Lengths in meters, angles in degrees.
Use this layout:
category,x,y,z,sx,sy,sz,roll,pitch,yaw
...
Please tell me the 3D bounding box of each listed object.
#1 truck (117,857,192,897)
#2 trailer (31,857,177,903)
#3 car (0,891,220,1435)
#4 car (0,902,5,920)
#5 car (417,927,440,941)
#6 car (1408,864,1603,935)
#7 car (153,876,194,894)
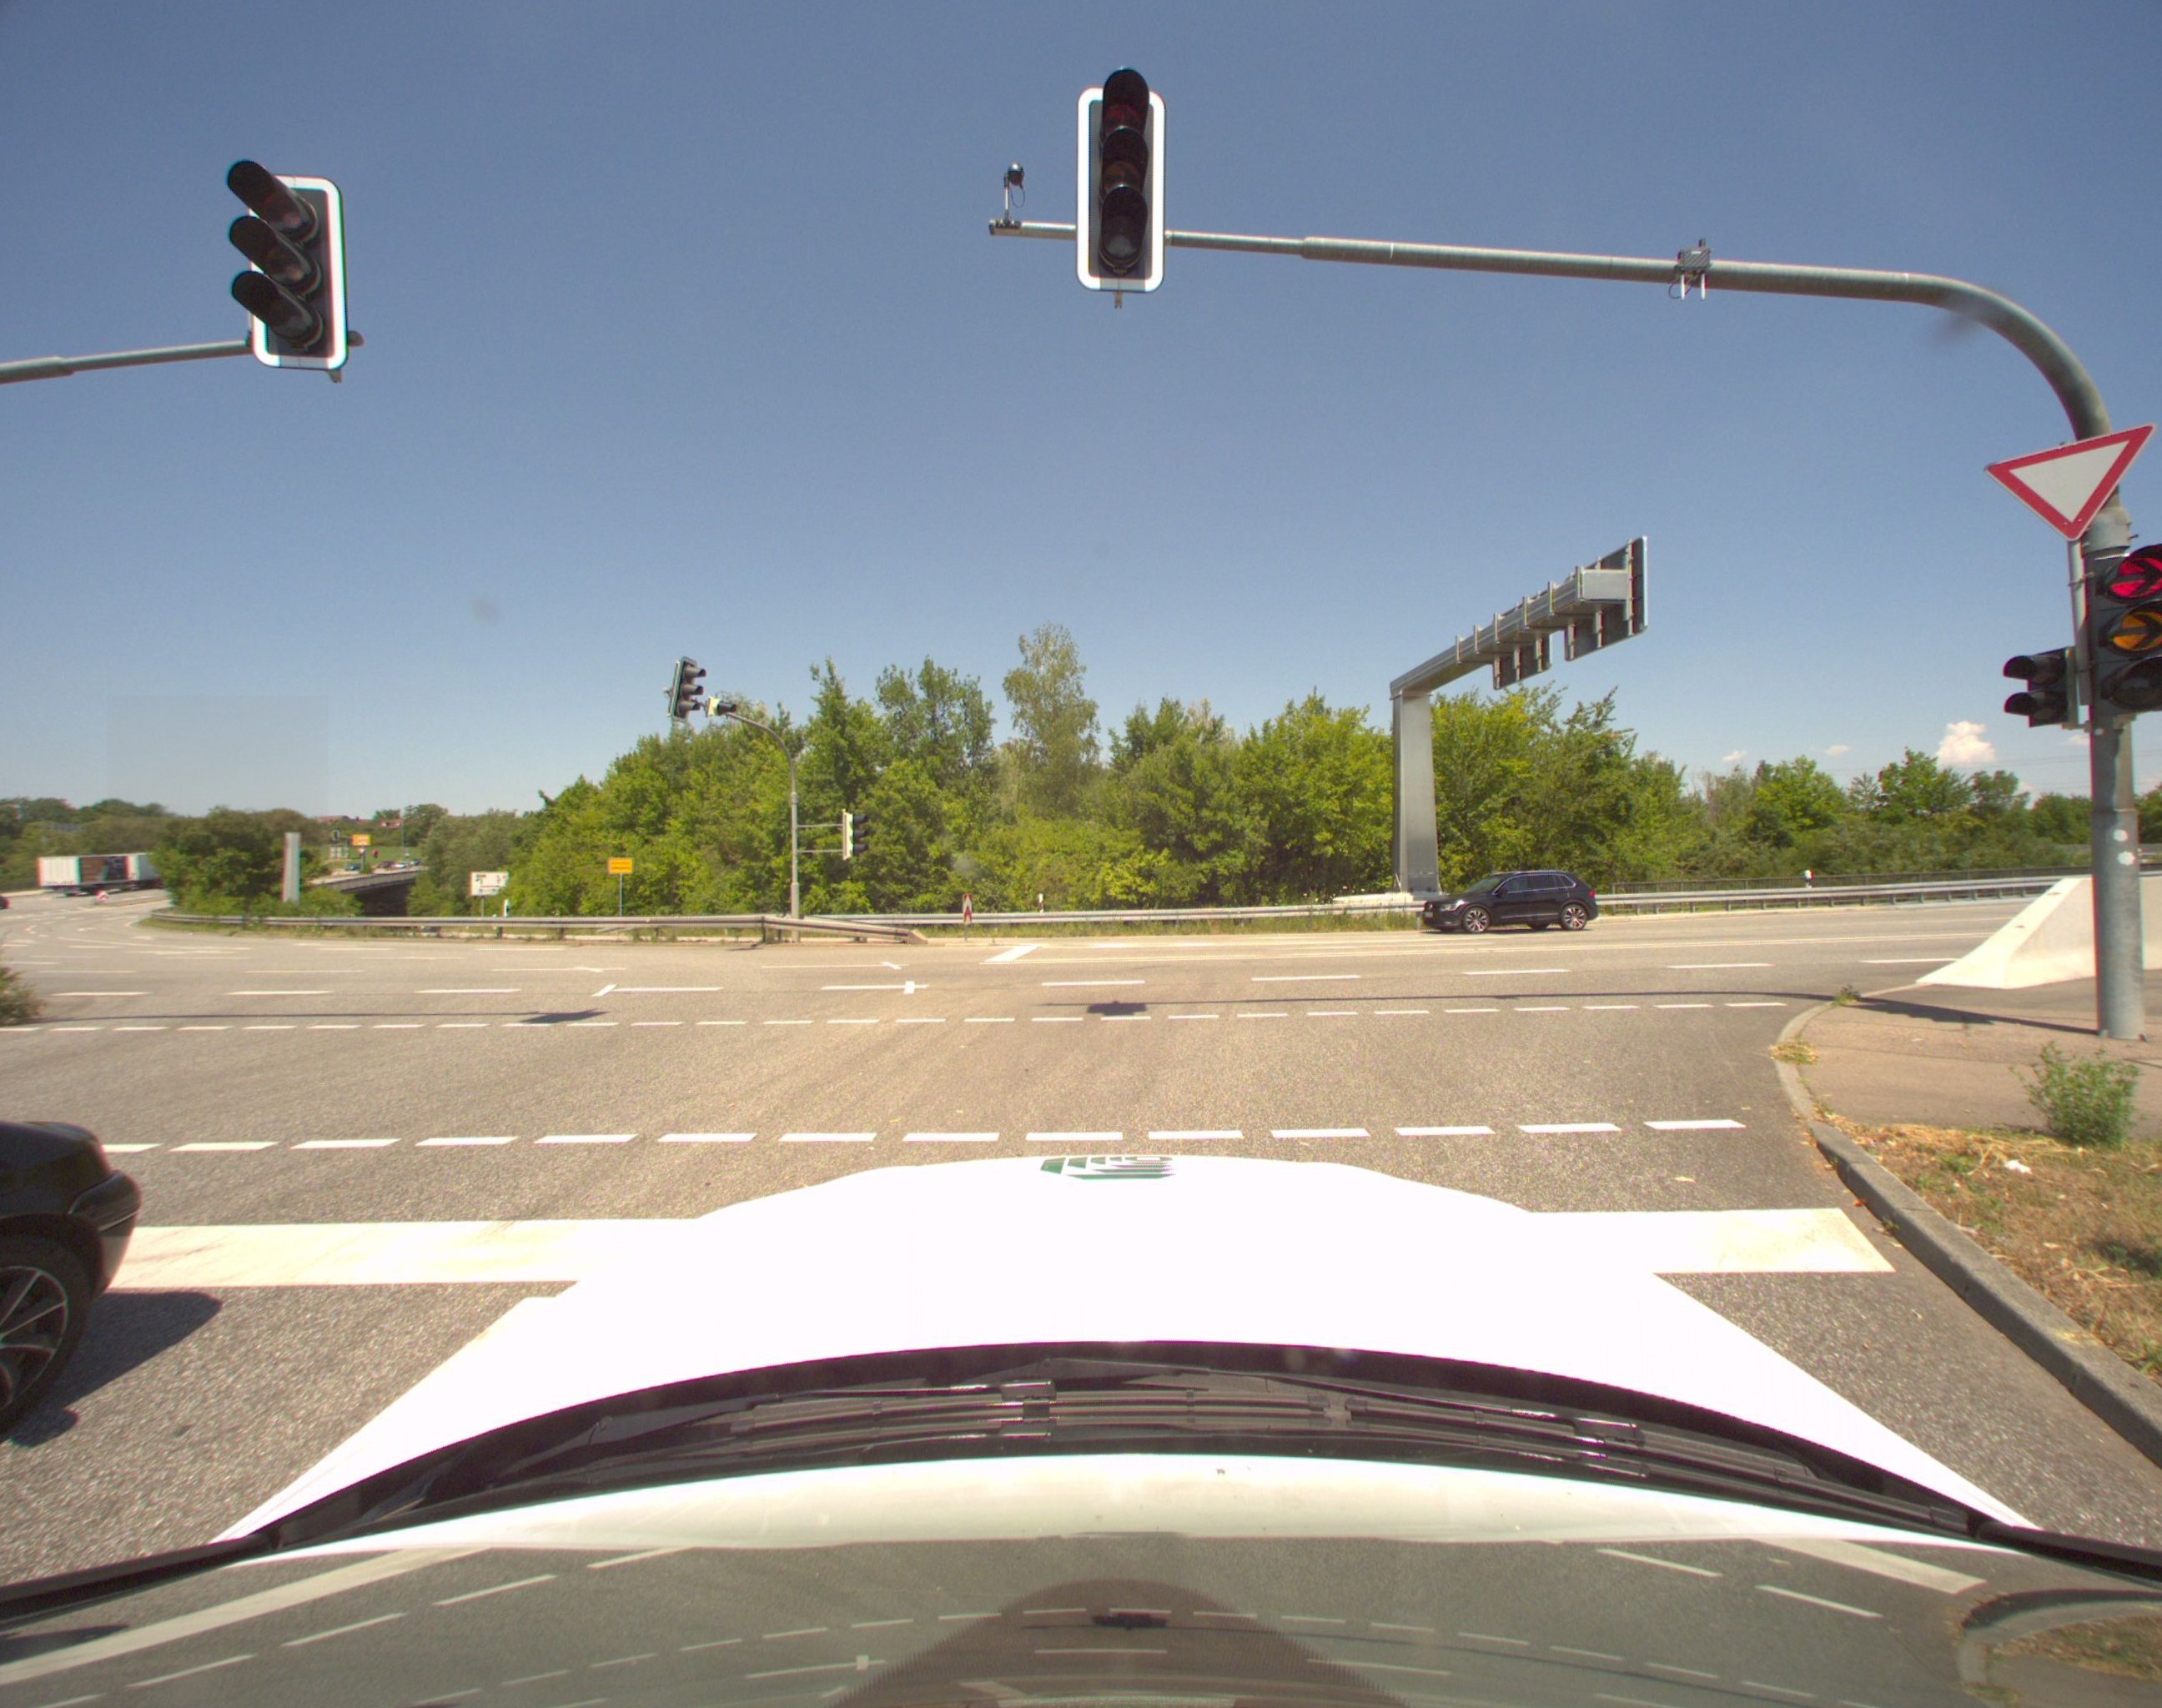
category,x,y,z,sx,sy,sz,roll,pitch,yaw
truck,-104.591,2.525,92.067,3.246,4.248,6.188,0,0,-24
trailer,-101.477,2.526,85.154,3.246,4.248,15.287,0,0,-24
car,-3.614,0.825,1.022,1.615,1.407,3.297,-1,-1,-2
car,-87.174,4.541,64.267,1.820,1.434,3.882,3,-4,-39
car,-73.343,8.953,91.574,1.821,1.434,4.360,3,-5,-40
car,11.479,1.246,22.209,4.251,1.632,1.902,-3,-4,-3
car,-100.265,3.427,90.031,1.891,1.732,3.963,0,0,-29
